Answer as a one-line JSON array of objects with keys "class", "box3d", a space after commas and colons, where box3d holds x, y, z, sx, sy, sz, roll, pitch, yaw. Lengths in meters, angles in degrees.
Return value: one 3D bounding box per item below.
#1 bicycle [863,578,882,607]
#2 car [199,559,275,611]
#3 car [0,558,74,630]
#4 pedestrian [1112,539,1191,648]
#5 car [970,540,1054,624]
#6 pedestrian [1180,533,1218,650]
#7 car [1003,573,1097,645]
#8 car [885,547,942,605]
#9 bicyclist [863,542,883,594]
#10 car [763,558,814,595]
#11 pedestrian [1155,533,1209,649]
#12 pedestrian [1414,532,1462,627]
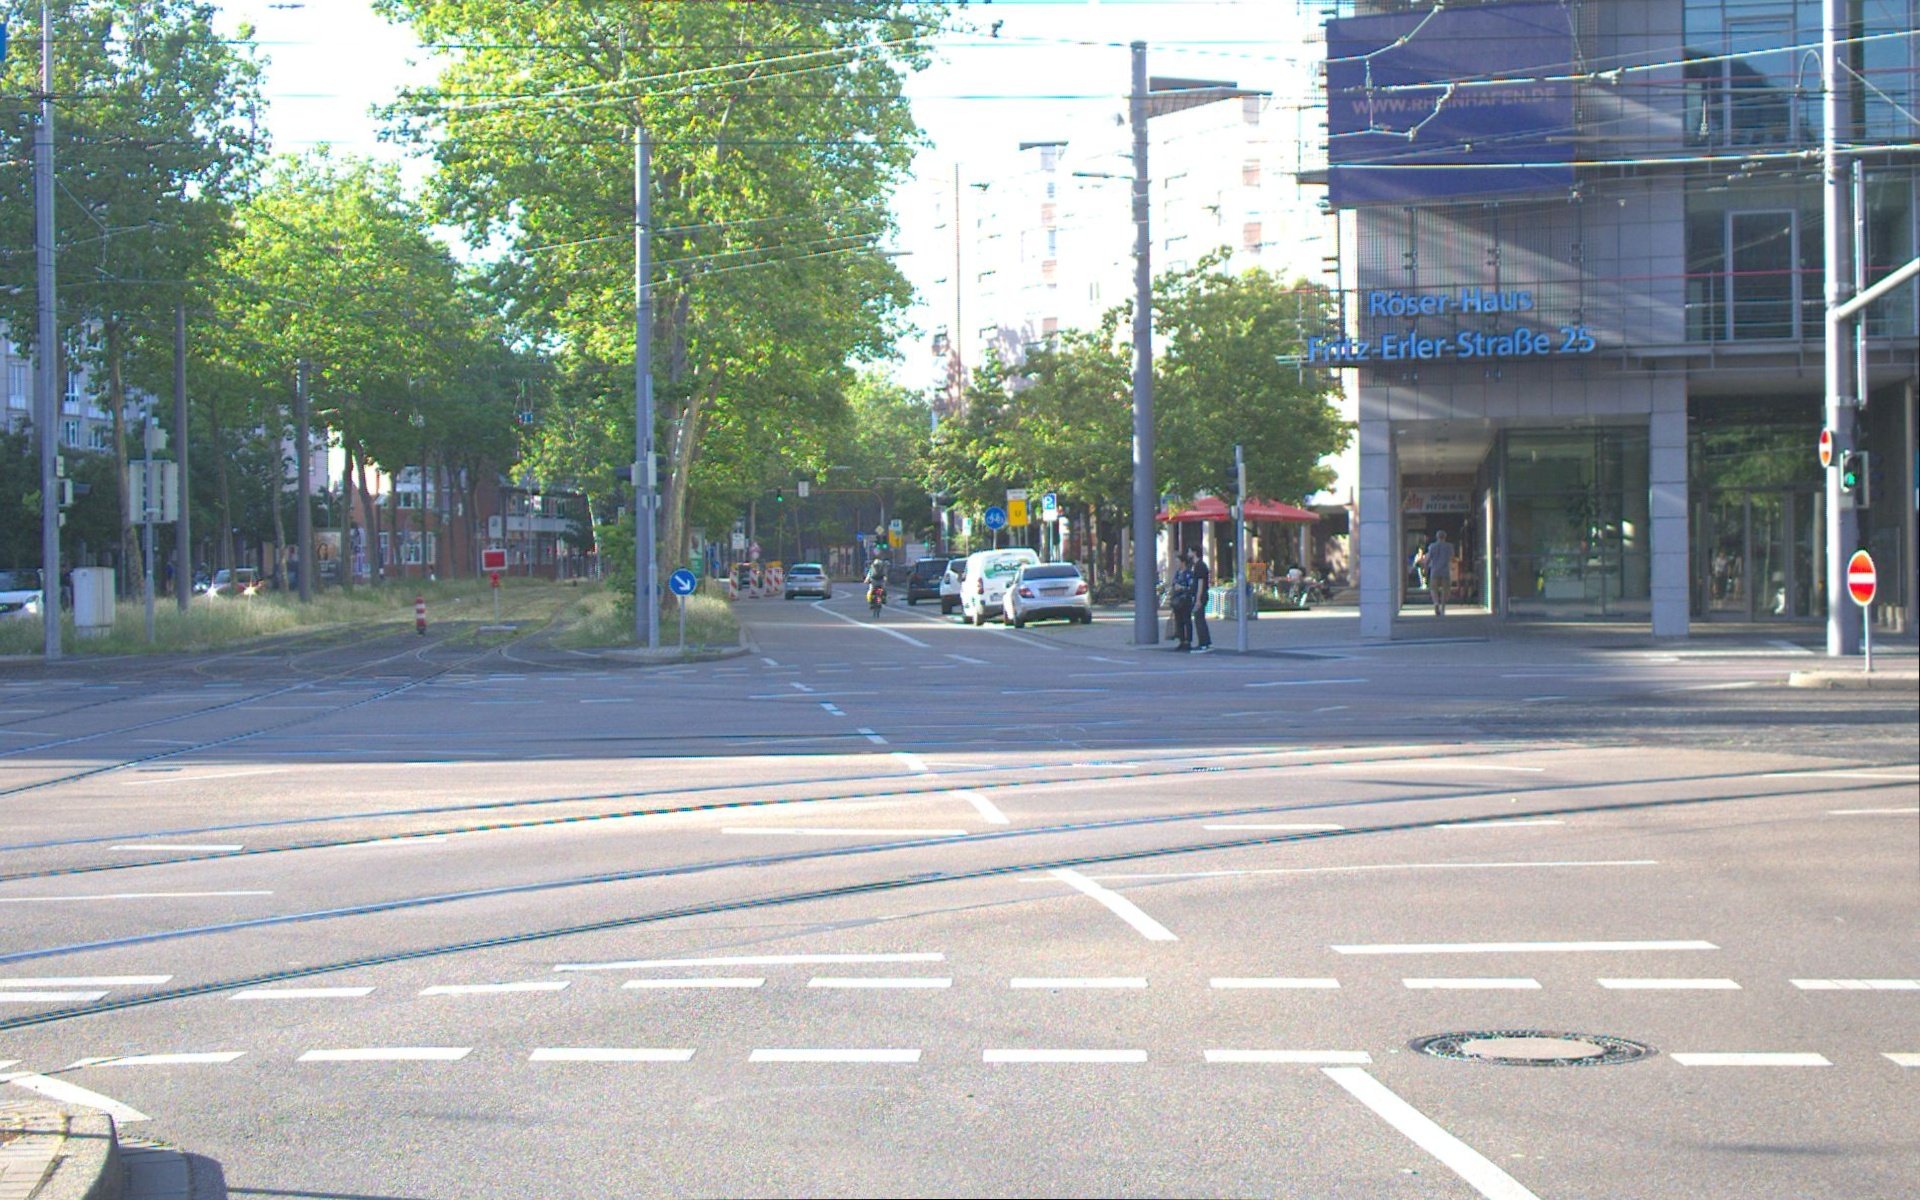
[{"class": "bicycle", "box3d": [-2.432, -0.202, 95.541, 0.490, 0.786, 1.862, 1, 0, 0]}, {"class": "car", "box3d": [-25.458, -0.536, 121.124, 1.844, 1.777, 4.000, -1, 1, 0]}, {"class": "car", "box3d": [-21.576, -0.144, 79.195, 1.676, 1.602, 4.001, 1, 0, -6]}, {"class": "pedestrian", "box3d": [3.428, -0.116, 61.758, 1.342, 1.944, 1.011, 0, 0, 0]}, {"class": "car", "box3d": [1.278, -0.443, 85.846, 1.993, 2.007, 4.000, 1, 0, 0]}, {"class": "pedestrian", "box3d": [4.132, -0.140, 59.536, 0.586, 2.007, 0.620, 1, 0, 0]}, {"class": "car", "box3d": [2.044, 0.191, 79.225, 2.029, 1.590, 4.000, 1, 0, 0]}, {"class": "car", "box3d": [-1.645, -0.857, 123.081, 1.993, 2.007, 4.000, 1, 0, 0]}, {"class": "bicyclist", "box3d": [-2.411, -0.884, 95.518, 0.486, 1.434, 0.615, 2, 1, 0]}, {"class": "car", "box3d": [-6.950, -0.972, 139.334, 1.748, 1.413, 4.000, 0, 1, 2]}, {"class": "pedestrian", "box3d": [3.909, -0.157, 60.631, 0.849, 2.007, 0.708, 1, 0, -2]}, {"class": "pedestrian", "box3d": [10.194, -0.429, 73.346, 0.869, 2.007, 0.793, 1, -1, 0]}]
